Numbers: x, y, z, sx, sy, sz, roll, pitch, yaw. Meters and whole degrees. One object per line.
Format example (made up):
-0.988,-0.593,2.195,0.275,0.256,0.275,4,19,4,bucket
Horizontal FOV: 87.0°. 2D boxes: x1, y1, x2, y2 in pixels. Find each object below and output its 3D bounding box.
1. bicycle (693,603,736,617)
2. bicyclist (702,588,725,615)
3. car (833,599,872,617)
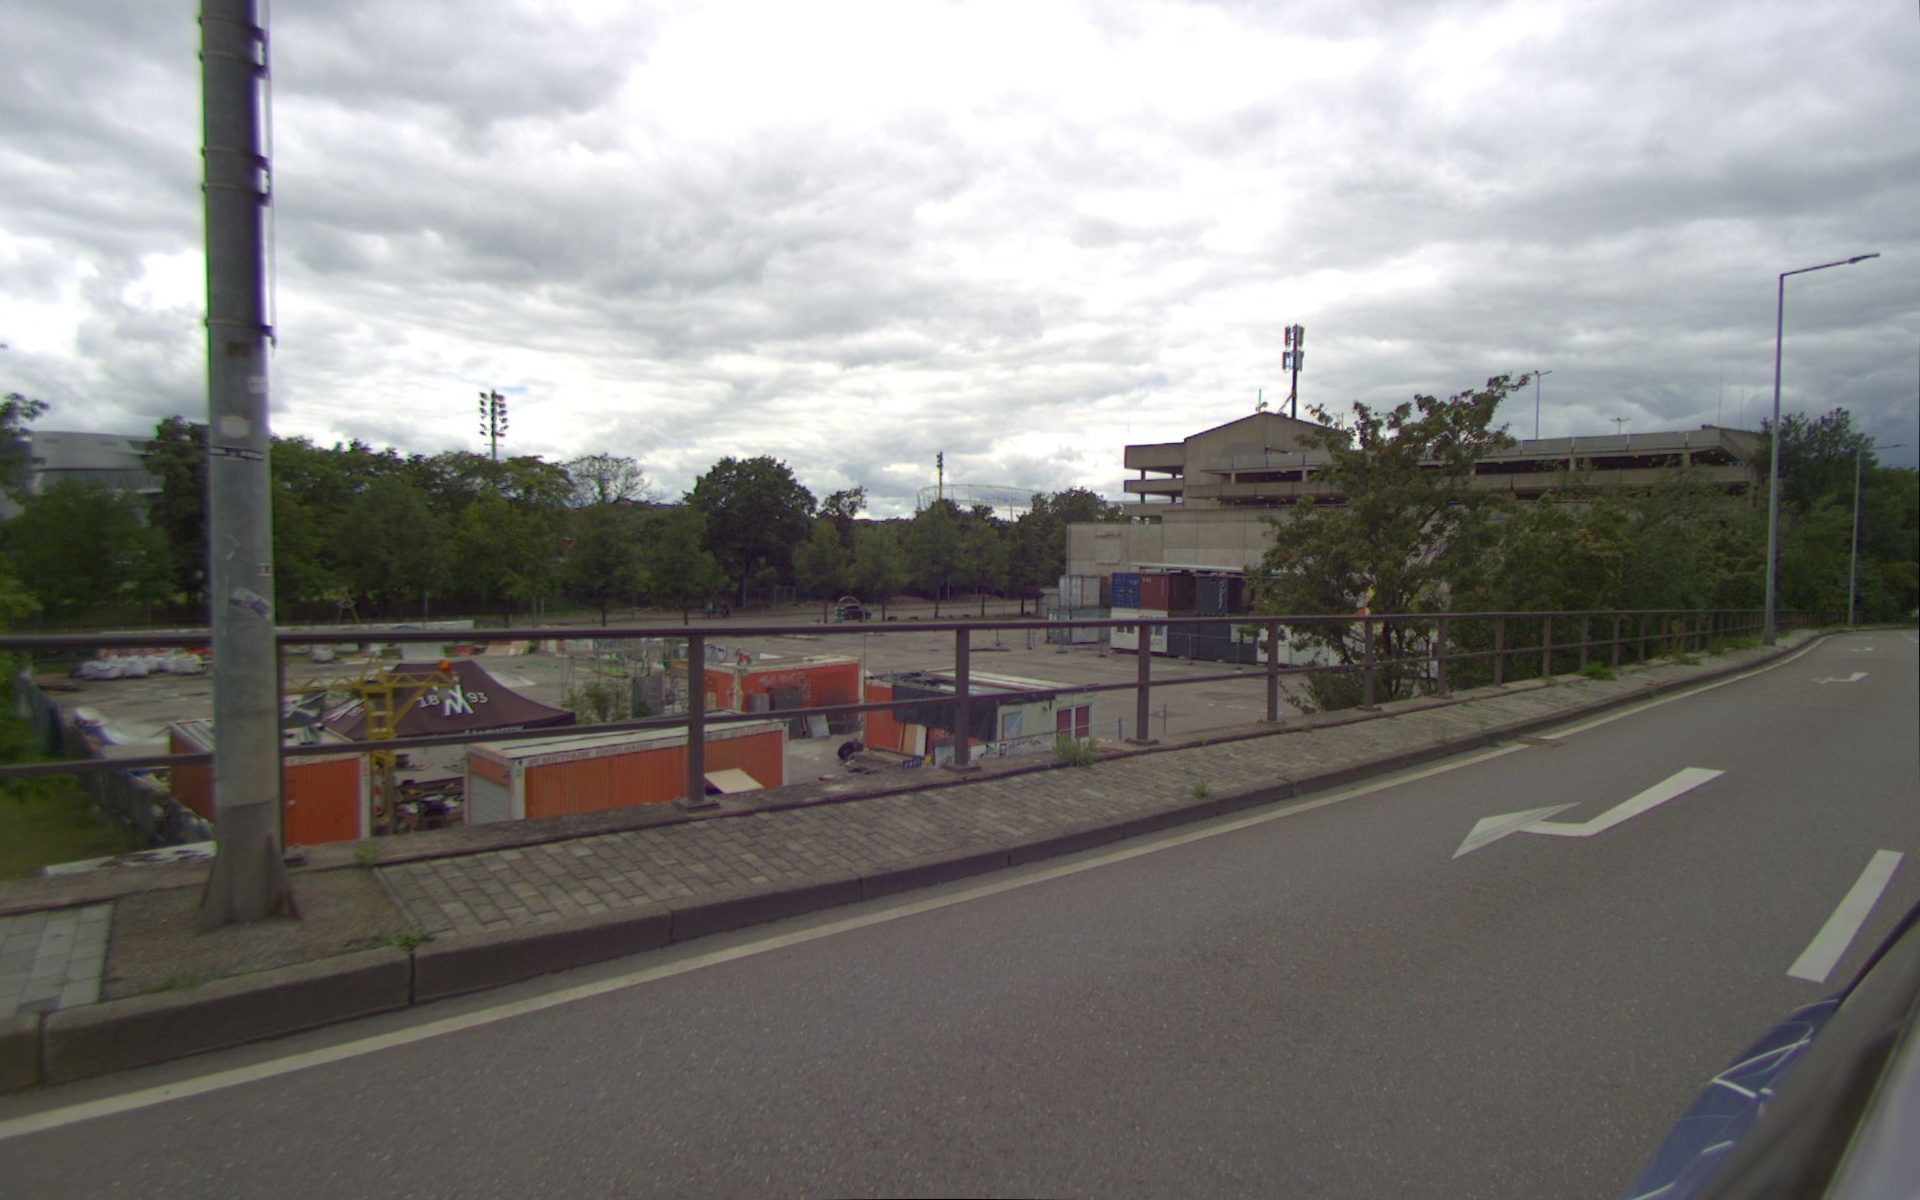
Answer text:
-25.309,1.053,104.419,1.497,1.304,4.264,2,2,43,bicycle
-25.395,0.138,104.296,1.497,2.737,1.844,1,2,43,bicyclist
-11.834,0.910,111.296,1.992,1.839,3.938,-3,-2,43,car
